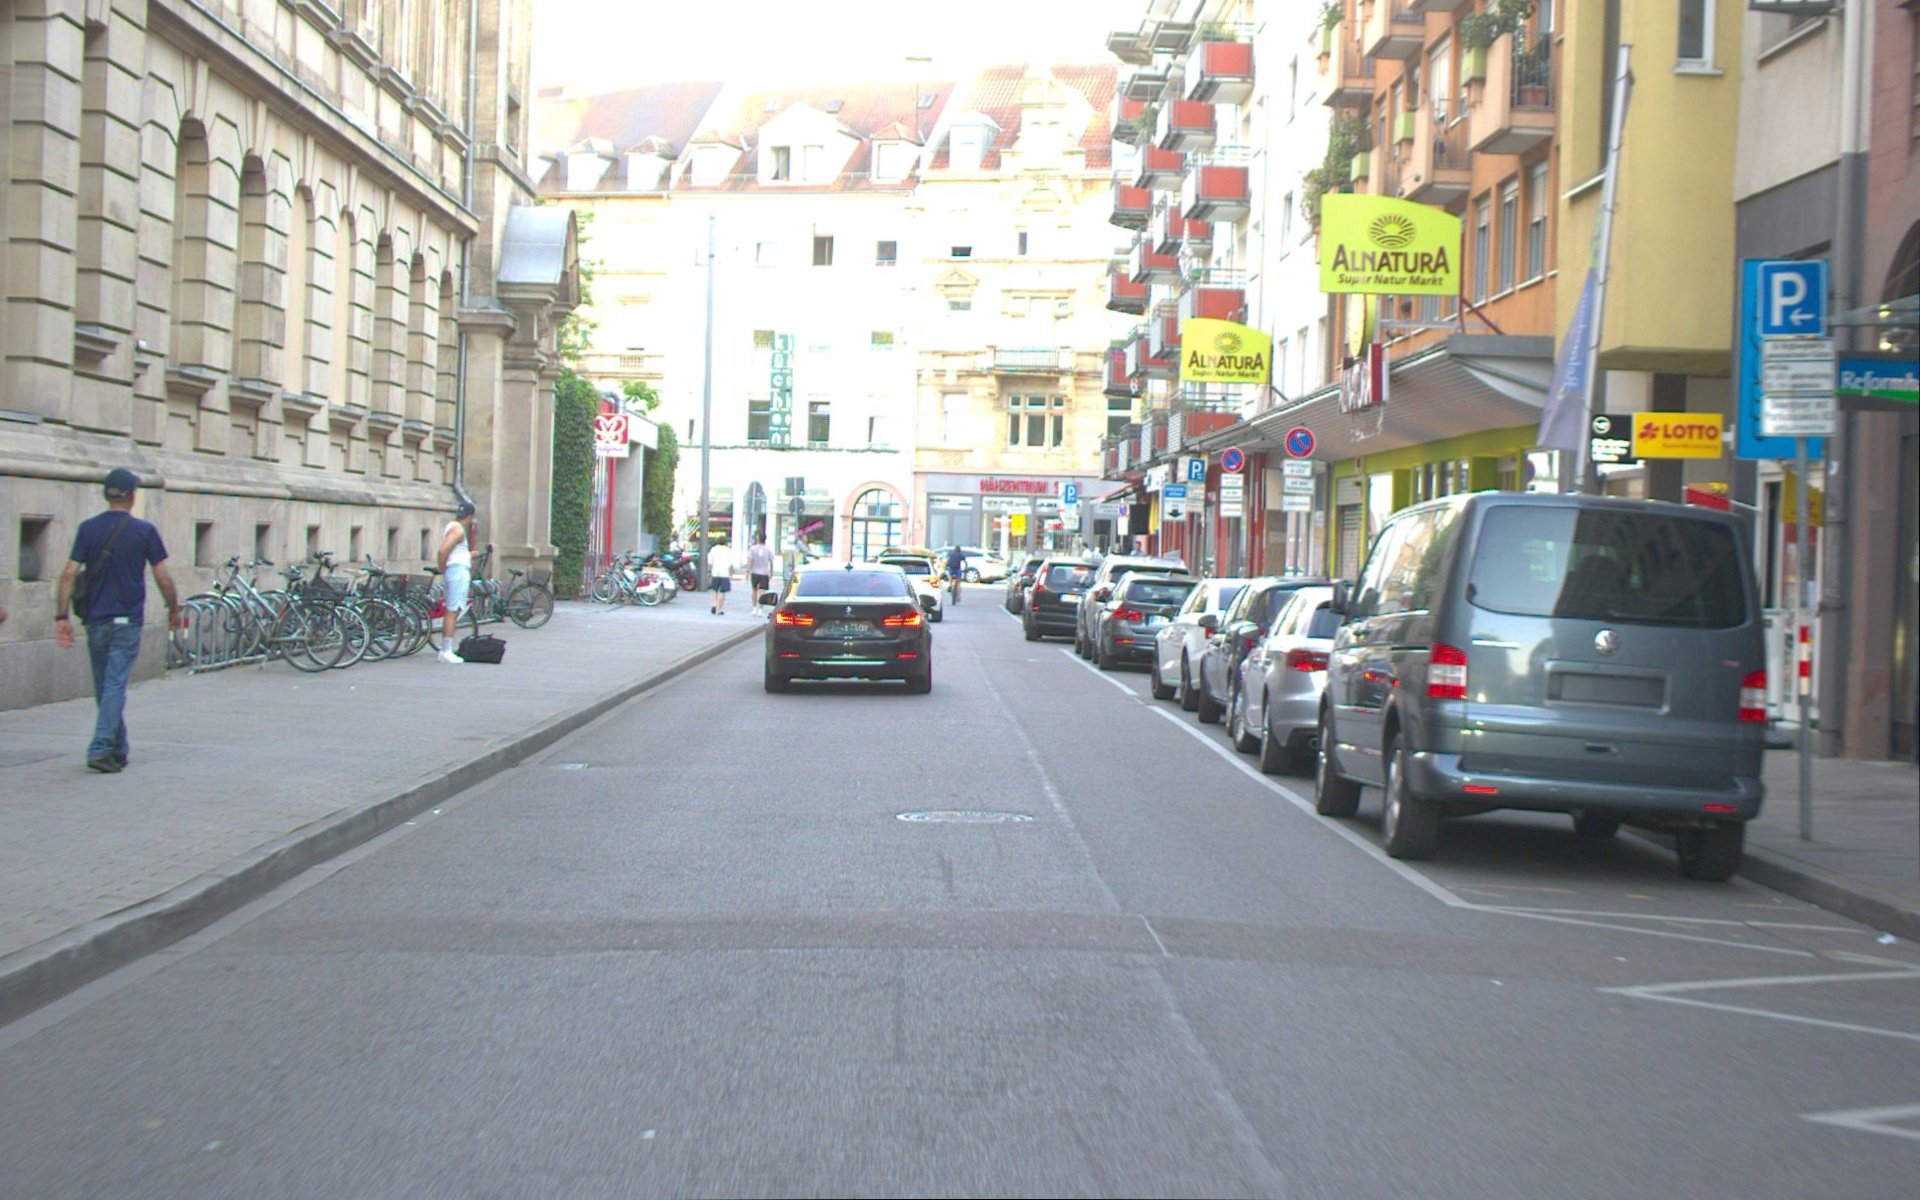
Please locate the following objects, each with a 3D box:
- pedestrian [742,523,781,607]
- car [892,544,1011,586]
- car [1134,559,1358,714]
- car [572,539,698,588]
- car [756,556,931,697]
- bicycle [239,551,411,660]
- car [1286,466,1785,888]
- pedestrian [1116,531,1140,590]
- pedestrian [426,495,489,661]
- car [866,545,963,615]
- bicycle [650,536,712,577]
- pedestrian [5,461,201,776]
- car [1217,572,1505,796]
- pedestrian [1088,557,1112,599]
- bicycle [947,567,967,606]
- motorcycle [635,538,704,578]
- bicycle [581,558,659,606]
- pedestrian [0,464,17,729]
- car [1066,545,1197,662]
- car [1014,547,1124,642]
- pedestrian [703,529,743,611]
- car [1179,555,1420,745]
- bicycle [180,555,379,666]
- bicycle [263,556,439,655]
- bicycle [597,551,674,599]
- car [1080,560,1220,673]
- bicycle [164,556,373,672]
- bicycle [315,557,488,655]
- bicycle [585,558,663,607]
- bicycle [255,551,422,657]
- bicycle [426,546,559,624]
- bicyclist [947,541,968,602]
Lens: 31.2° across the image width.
[{"bbox_3d":[-4.533,-0.806,78.437,0.744,1.887,1.050,3,1,0],"label":"pedestrian"},{"bbox_3d":[-0.344,-1.400,137.879,4.357,1.557,1.866,1,0,22],"label":"car"},{"bbox_3d":[3.033,0.347,37.309,1.691,1.406,4.640,4,1,-3],"label":"car"},{"bbox_3d":[-10.596,-1.203,111.941,3.986,1.496,1.892,1,1,-8],"label":"car"},{"bbox_3d":[-1.249,0.249,38.632,1.765,1.370,4.791,2,1,0],"label":"car"},{"bbox_3d":[-7.026,0.059,38.099,1.794,1.104,0.500,3,0,-6],"label":"bicycle"},{"bbox_3d":[3.155,0.372,19.931,1.846,2.051,5.054,3,0,-1],"label":"car"},{"bbox_3d":[4.765,-1.119,97.589,0.648,1.655,0.655,-1,1,1],"label":"pedestrian"},{"bbox_3d":[-5.753,-0.258,39.382,0.588,1.845,0.754,3,1,-6],"label":"pedestrian"},{"bbox_3d":[-0.984,-0.464,76.832,1.877,1.468,4.000,1,1,3],"label":"car"},{"bbox_3d":[-8.313,-1.301,102.511,1.794,1.104,0.500,3,1,-5],"label":"bicycle"},{"bbox_3d":[-4.946,0.102,19.898,0.809,1.744,0.969,3,0,-1],"label":"pedestrian"},{"bbox_3d":[3.058,0.588,27.025,1.687,1.448,4.498,4,1,1],"label":"car"},{"bbox_3d":[4.373,-0.689,107.567,0.687,1.282,0.608,0,0,9],"label":"pedestrian"},{"bbox_3d":[-0.084,-0.400,99.924,0.536,1.104,1.800,2,1,0],"label":"bicycle"},{"bbox_3d":[-8.419,-1.211,99.735,1.803,1.060,0.763,3,1,25],"label":"motorcycle"},{"bbox_3d":[-8.182,-0.436,82.784,1.794,1.104,0.500,2,1,-1],"label":"bicycle"},{"bbox_3d":[-6.151,0.038,20.331,0.828,1.740,0.769,4,1,0],"label":"pedestrian"},{"bbox_3d":[2.703,0.016,55.127,1.752,1.662,4.756,4,1,0],"label":"car"},{"bbox_3d":[2.081,-0.134,64.371,1.794,1.604,4.486,4,1,4],"label":"car"},{"bbox_3d":[-5.394,-0.698,78.148,0.741,1.806,1.009,4,1,-1],"label":"pedestrian"},{"bbox_3d":[3.103,0.407,32.137,1.618,1.511,4.174,4,1,-2],"label":"car"},{"bbox_3d":[-7.088,0.106,35.880,1.937,1.058,0.620,3,0,-6],"label":"bicycle"},{"bbox_3d":[-7.099,0.062,40.114,1.937,1.058,0.620,3,0,-6],"label":"bicycle"},{"bbox_3d":[-8.021,-0.615,84.959,1.794,1.104,0.500,2,1,3],"label":"bicycle"},{"bbox_3d":[2.728,0.202,50.161,1.691,1.410,4.756,4,1,0],"label":"car"},{"bbox_3d":[-6.953,0.136,34.633,1.937,1.058,0.620,3,0,-1],"label":"bicycle"},{"bbox_3d":[-6.682,0.070,41.158,1.937,1.058,0.620,3,0,-2],"label":"bicycle"},{"bbox_3d":[-8.049,-0.423,82.439,1.794,1.104,0.500,2,1,0],"label":"bicycle"},{"bbox_3d":[-7.094,0.044,39.299,1.794,1.104,0.500,3,0,-6],"label":"bicycle"},{"bbox_3d":[-7.347,-0.236,54.018,1.936,1.058,0.620,5,0,-15],"label":"bicycle"},{"bbox_3d":[-0.066,-0.829,99.896,0.523,1.750,0.620,2,1,0],"label":"bicyclist"}]
